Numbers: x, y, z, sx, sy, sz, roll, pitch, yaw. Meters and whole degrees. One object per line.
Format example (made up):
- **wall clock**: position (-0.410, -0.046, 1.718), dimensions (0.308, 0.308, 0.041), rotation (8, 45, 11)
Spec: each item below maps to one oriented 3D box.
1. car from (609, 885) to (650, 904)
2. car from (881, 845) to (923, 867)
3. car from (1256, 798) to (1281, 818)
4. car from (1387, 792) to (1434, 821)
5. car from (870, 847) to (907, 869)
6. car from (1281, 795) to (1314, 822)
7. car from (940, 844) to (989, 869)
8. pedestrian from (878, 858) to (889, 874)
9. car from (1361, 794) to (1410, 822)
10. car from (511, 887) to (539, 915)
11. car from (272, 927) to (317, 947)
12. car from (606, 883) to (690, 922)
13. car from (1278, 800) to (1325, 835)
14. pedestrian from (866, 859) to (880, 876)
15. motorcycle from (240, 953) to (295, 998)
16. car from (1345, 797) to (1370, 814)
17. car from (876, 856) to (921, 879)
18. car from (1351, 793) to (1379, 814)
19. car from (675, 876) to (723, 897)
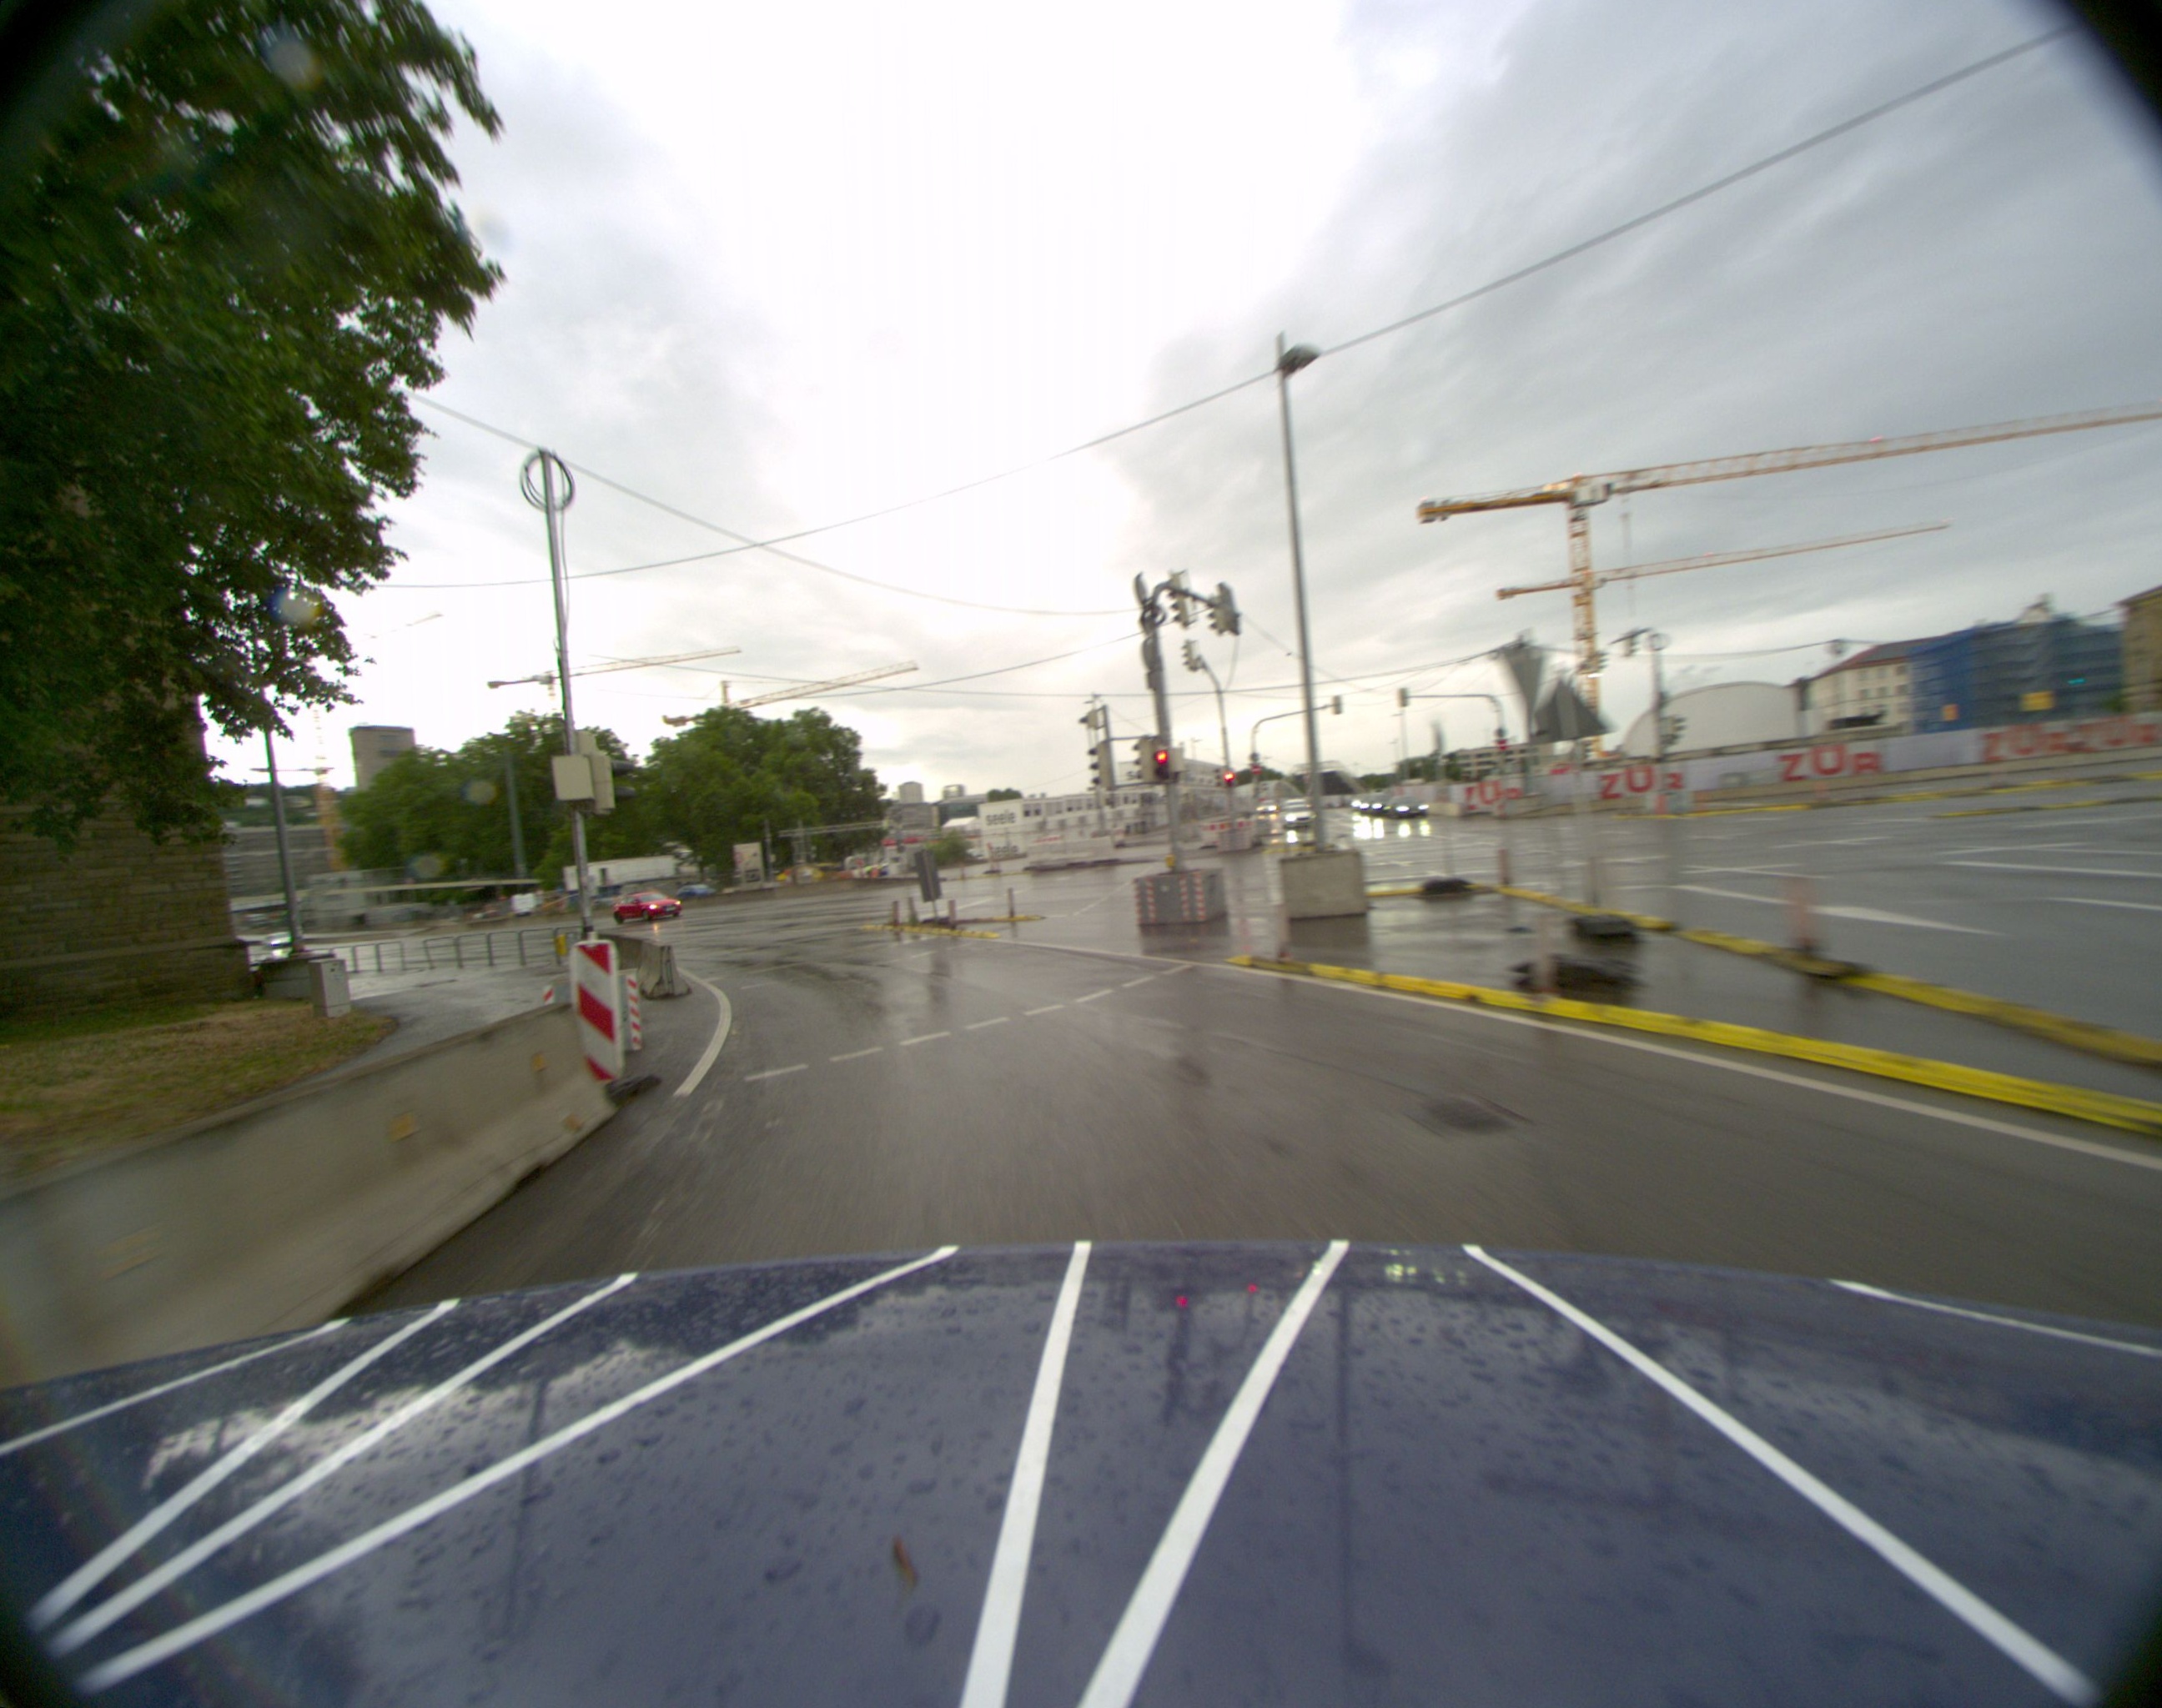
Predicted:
- **car**: position (-45.350, 4.103, 76.245), dimensions (4.429, 1.481, 1.844), rotation (-5, 2, 37)
- **car**: position (-23.534, 0.231, 100.190), dimensions (4.948, 2.371, 1.998), rotation (-7, 2, -6)
- **car**: position (20.055, -4.919, 81.150), dimensions (1.996, 1.762, 4.360), rotation (-6, 2, 20)
- **car**: position (21.149, -3.060, 48.938), dimensions (1.858, 1.557, 3.802), rotation (-7, 2, 11)
- **car**: position (-24.807, 0.485, 97.878), dimensions (3.996, 2.371, 2.000), rotation (-6, 2, 4)
- **car**: position (16.914, -3.564, 59.529), dimensions (1.997, 1.762, 4.359), rotation (-6, 2, 12)
- **car**: position (-11.139, 0.221, 72.511), dimensions (3.992, 1.929, 2.002), rotation (-6, 1, 20)
- **pedestrian**: position (-17.935, 1.074, 69.022), dimensions (0.745, 1.345, 0.837), rotation (-7, 2, -6)
- **car**: position (21.809, -3.274, 54.650), dimensions (1.998, 1.708, 4.423), rotation (-6, 2, 6)
- **car**: position (-60.979, 5.097, 83.438), dimensions (2.083, 2.723, 4.582), rotation (-8, 2, -35)
- **car**: position (-79.788, 8.445, 77.081), dimensions (4.429, 1.567, 1.991), rotation (-6, 2, 29)
- **car**: position (-22.191, 2.504, 38.961), dimensions (3.991, 1.543, 1.693), rotation (-6, 2, 28)
- **car**: position (14.502, -2.369, 50.234), dimensions (1.998, 2.002, 4.423), rotation (-6, 2, 6)
- **pedestrian**: position (-18.696, 1.217, 68.309), dimensions (0.836, 1.345, 0.746), rotation (-5, 3, 36)
- **motorcycle**: position (-23.009, 3.442, 21.488), dimensions (1.894, 1.132, 0.549), rotation (-5, 3, 30)
- **car**: position (22.520, -3.979, 61.976), dimensions (1.648, 1.171, 4.292), rotation (-8, 2, 18)
- **car**: position (-16.333, 1.205, 68.220), dimensions (1.996, 1.500, 4.002), rotation (-6, 3, 17)
- **car**: position (25.524, -4.516, 68.325), dimensions (1.996, 1.549, 4.528), rotation (-6, 2, 18)
- **car**: position (-34.473, 2.936, 68.509), dimensions (4.429, 1.481, 1.844), rotation (-5, 2, 35)
